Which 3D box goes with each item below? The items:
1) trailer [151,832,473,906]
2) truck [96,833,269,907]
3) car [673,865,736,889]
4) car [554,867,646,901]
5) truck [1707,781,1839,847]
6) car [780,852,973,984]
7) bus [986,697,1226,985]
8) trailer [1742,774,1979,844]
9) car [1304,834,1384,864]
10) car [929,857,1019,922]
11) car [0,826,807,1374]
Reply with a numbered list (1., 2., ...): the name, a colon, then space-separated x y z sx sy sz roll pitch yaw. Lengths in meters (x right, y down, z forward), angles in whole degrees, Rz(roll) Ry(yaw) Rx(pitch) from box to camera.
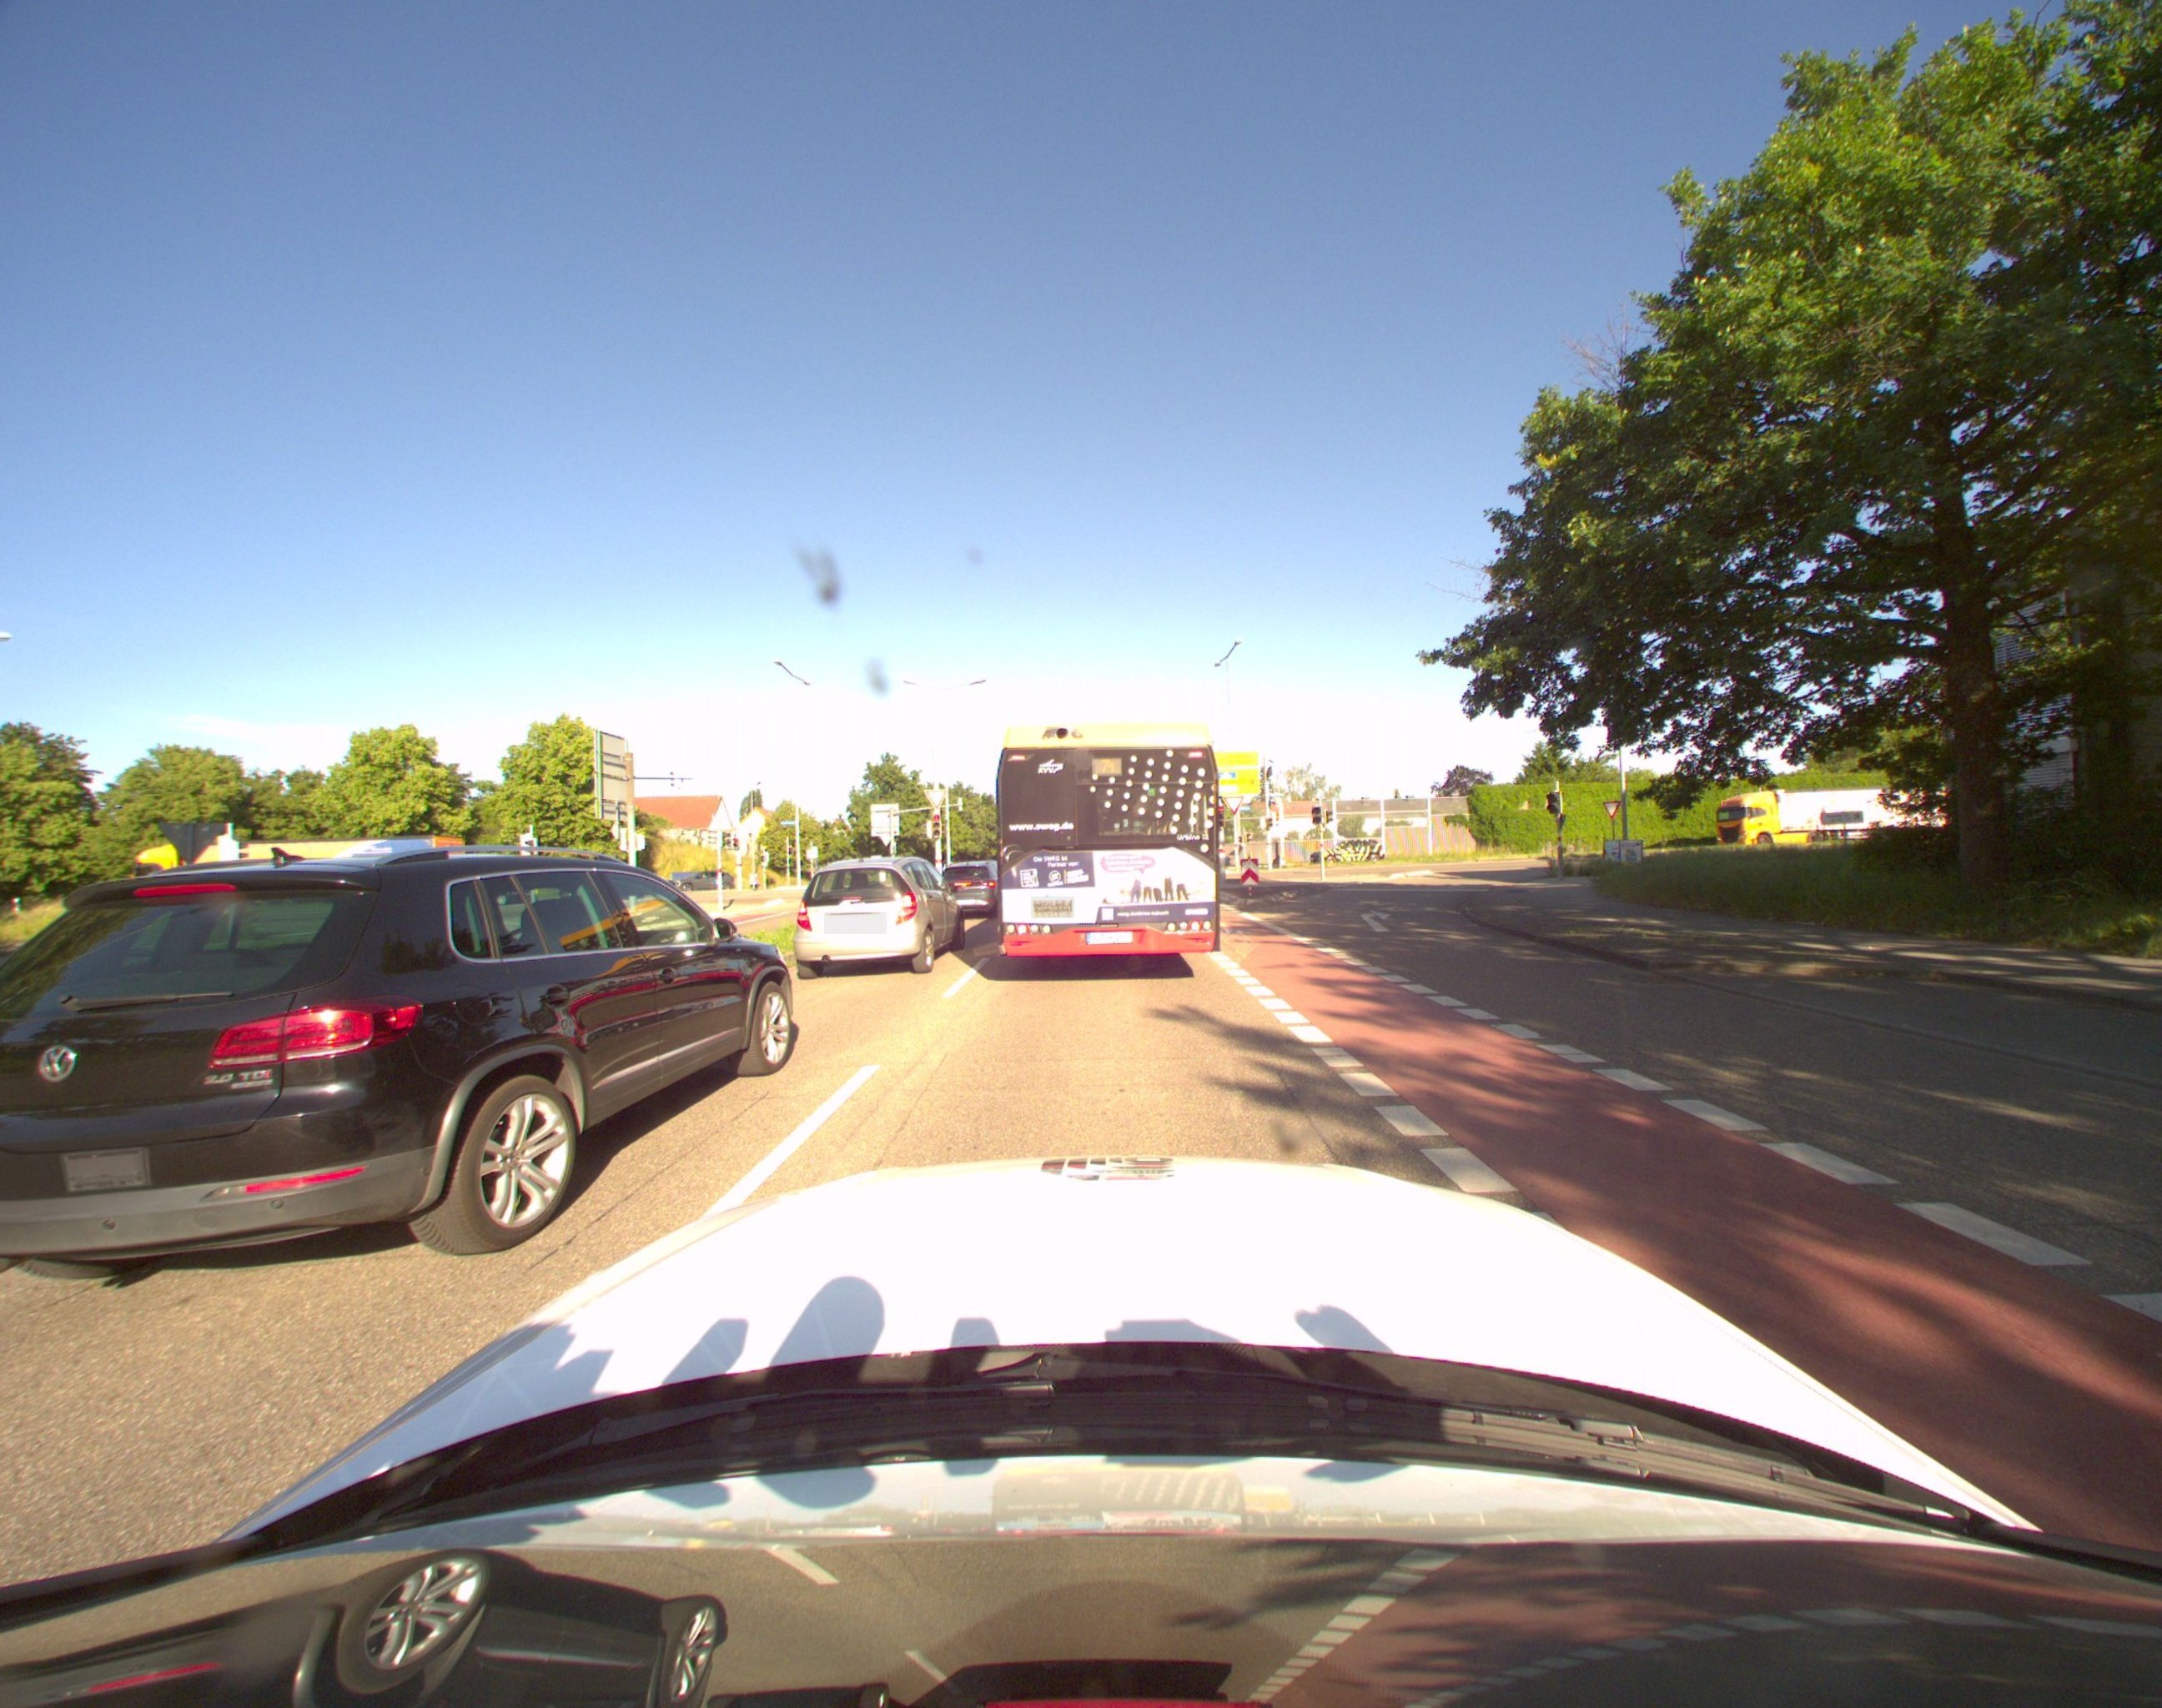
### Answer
1. trailer: -46.245 0.867 49.462 15.284 4.185 3.435 0 -1 -5
2. truck: -53.621 0.924 48.789 6.210 4.197 3.435 0 -1 -5
3. car: -25.887 1.558 56.056 1.556 1.459 3.618 -3 -1 40
4. car: -24.573 1.528 41.672 3.577 1.560 1.747 -2 0 -5
5. truck: 49.073 -2.775 57.878 6.465 4.012 3.435 -4 0 -5
6. car: -2.877 0.819 12.380 1.755 1.589 4.001 -3 0 1
7. bus: 0.521 -0.169 15.018 2.632 3.167 11.867 -1 0 2
8. trailer: 55.838 -3.193 58.503 14.633 4.012 3.435 -4 0 -5
9. car: 15.368 -0.284 47.753 4.057 1.526 1.767 -3 0 -3
10. car: -2.691 0.851 21.314 1.686 1.458 3.751 -3 0 1
11. car: -3.173 0.794 4.554 1.766 1.653 4.001 -3 0 1
